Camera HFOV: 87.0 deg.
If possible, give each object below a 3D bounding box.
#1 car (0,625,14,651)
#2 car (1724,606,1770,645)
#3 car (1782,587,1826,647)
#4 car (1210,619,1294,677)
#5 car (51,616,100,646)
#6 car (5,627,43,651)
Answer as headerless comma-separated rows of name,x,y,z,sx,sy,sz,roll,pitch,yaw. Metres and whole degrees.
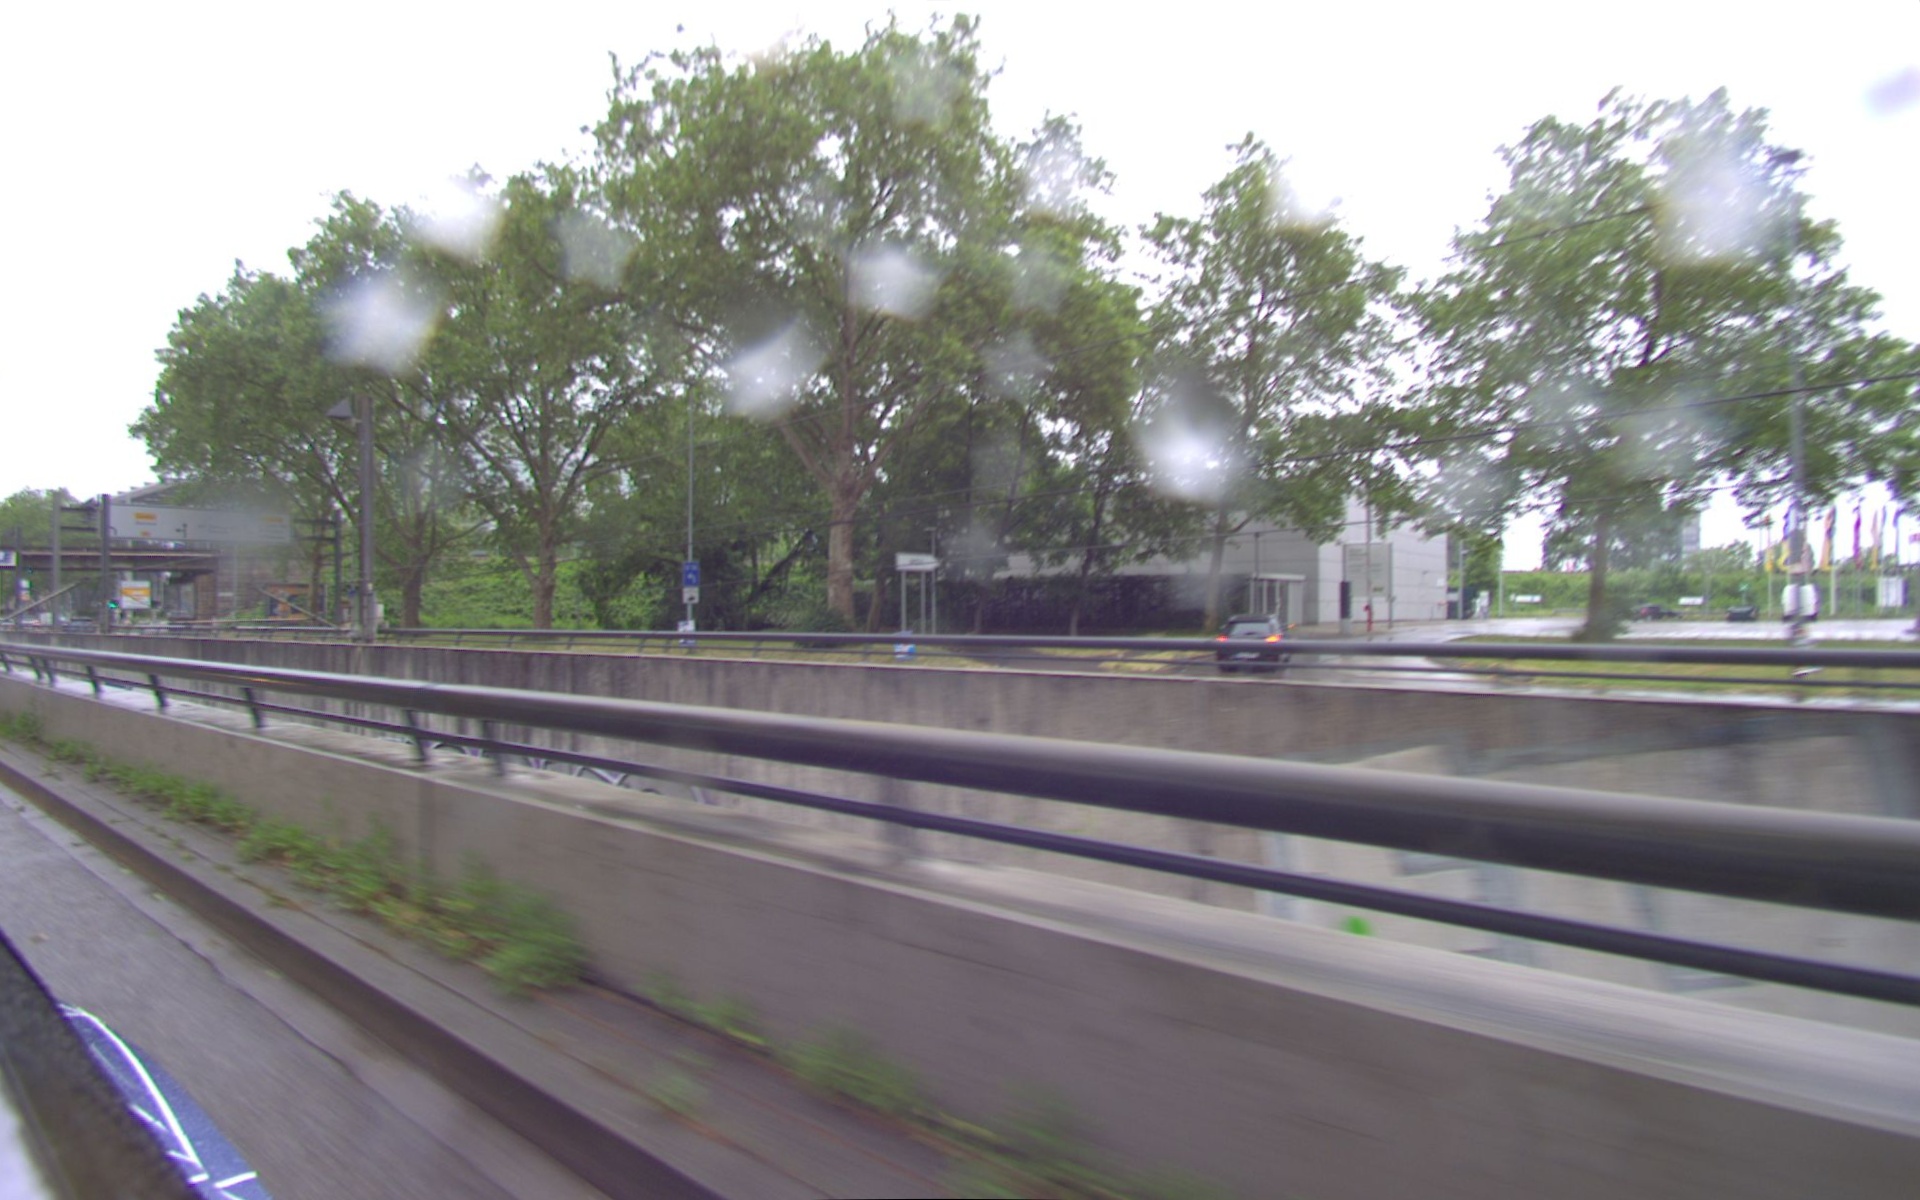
car,-76.302,3.003,79.756,4.612,2.029,1.974,-1,0,40
car,58.860,1.857,75.675,3.941,2.847,2.215,0,-1,-45
car,60.723,1.188,72.859,2.211,4.136,5.286,-1,-1,38
car,7.768,1.242,27.235,1.981,1.414,3.777,-1,-1,14
car,-65.074,2.258,74.443,4.506,2.029,1.974,-1,0,40
car,-83.732,3.473,90.533,3.996,2.029,1.974,-1,0,40
